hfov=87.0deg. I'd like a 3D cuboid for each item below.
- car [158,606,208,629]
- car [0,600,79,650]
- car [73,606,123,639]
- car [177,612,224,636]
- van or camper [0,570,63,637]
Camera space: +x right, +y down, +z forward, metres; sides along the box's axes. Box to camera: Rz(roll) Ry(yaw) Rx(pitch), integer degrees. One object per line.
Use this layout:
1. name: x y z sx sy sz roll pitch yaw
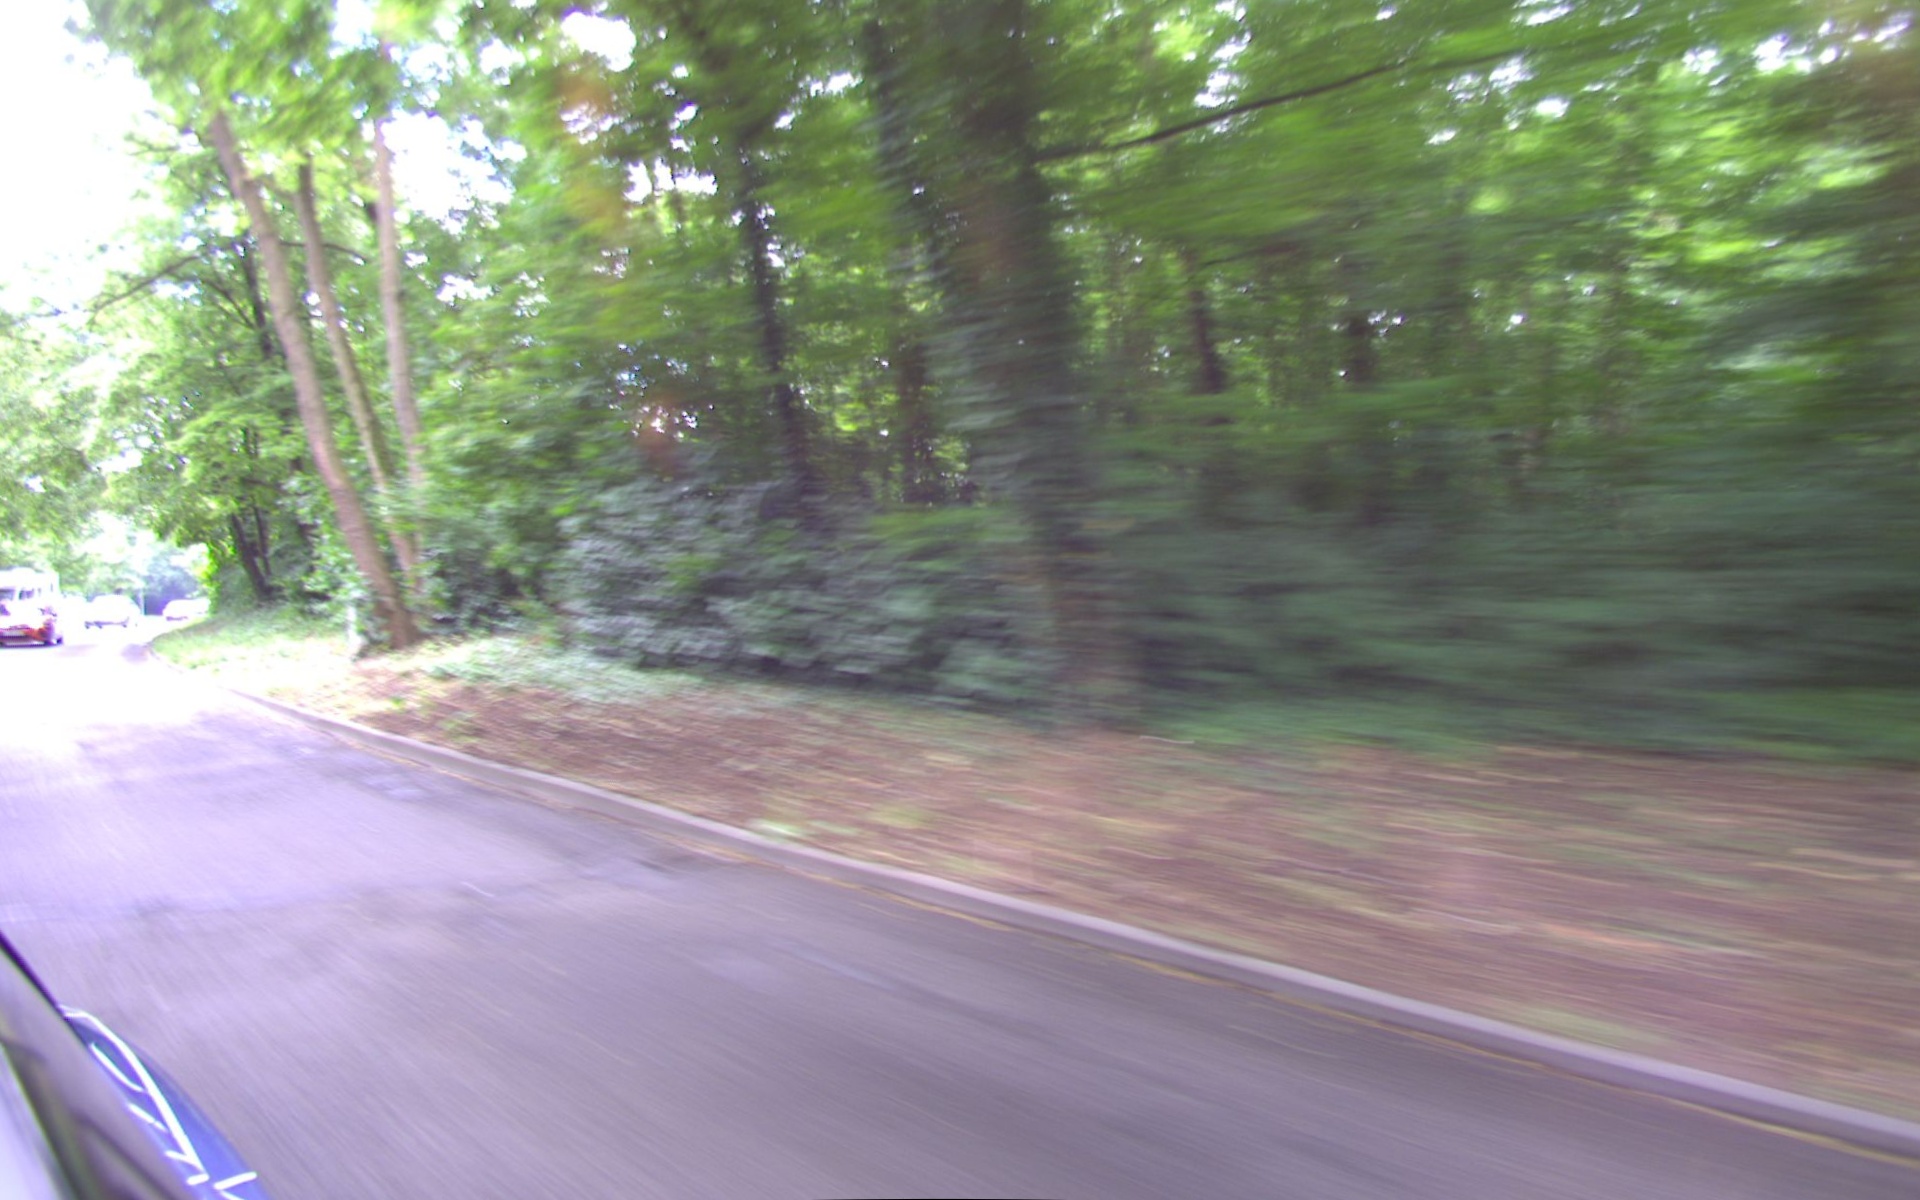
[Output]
1. car: -58.727 1.287 76.572 1.686 1.563 4.692 -2 1 -20
2. car: -30.334 0.779 32.857 1.926 1.483 4.690 -2 1 -33
3. car: -44.452 1.161 52.175 1.632 1.580 4.048 -2 1 -45
4. car: -54.175 1.711 72.274 1.738 1.580 4.059 -1 0 -23
5. van or camper: -45.479 0.218 48.316 2.391 3.002 7.416 -2 1 -30
